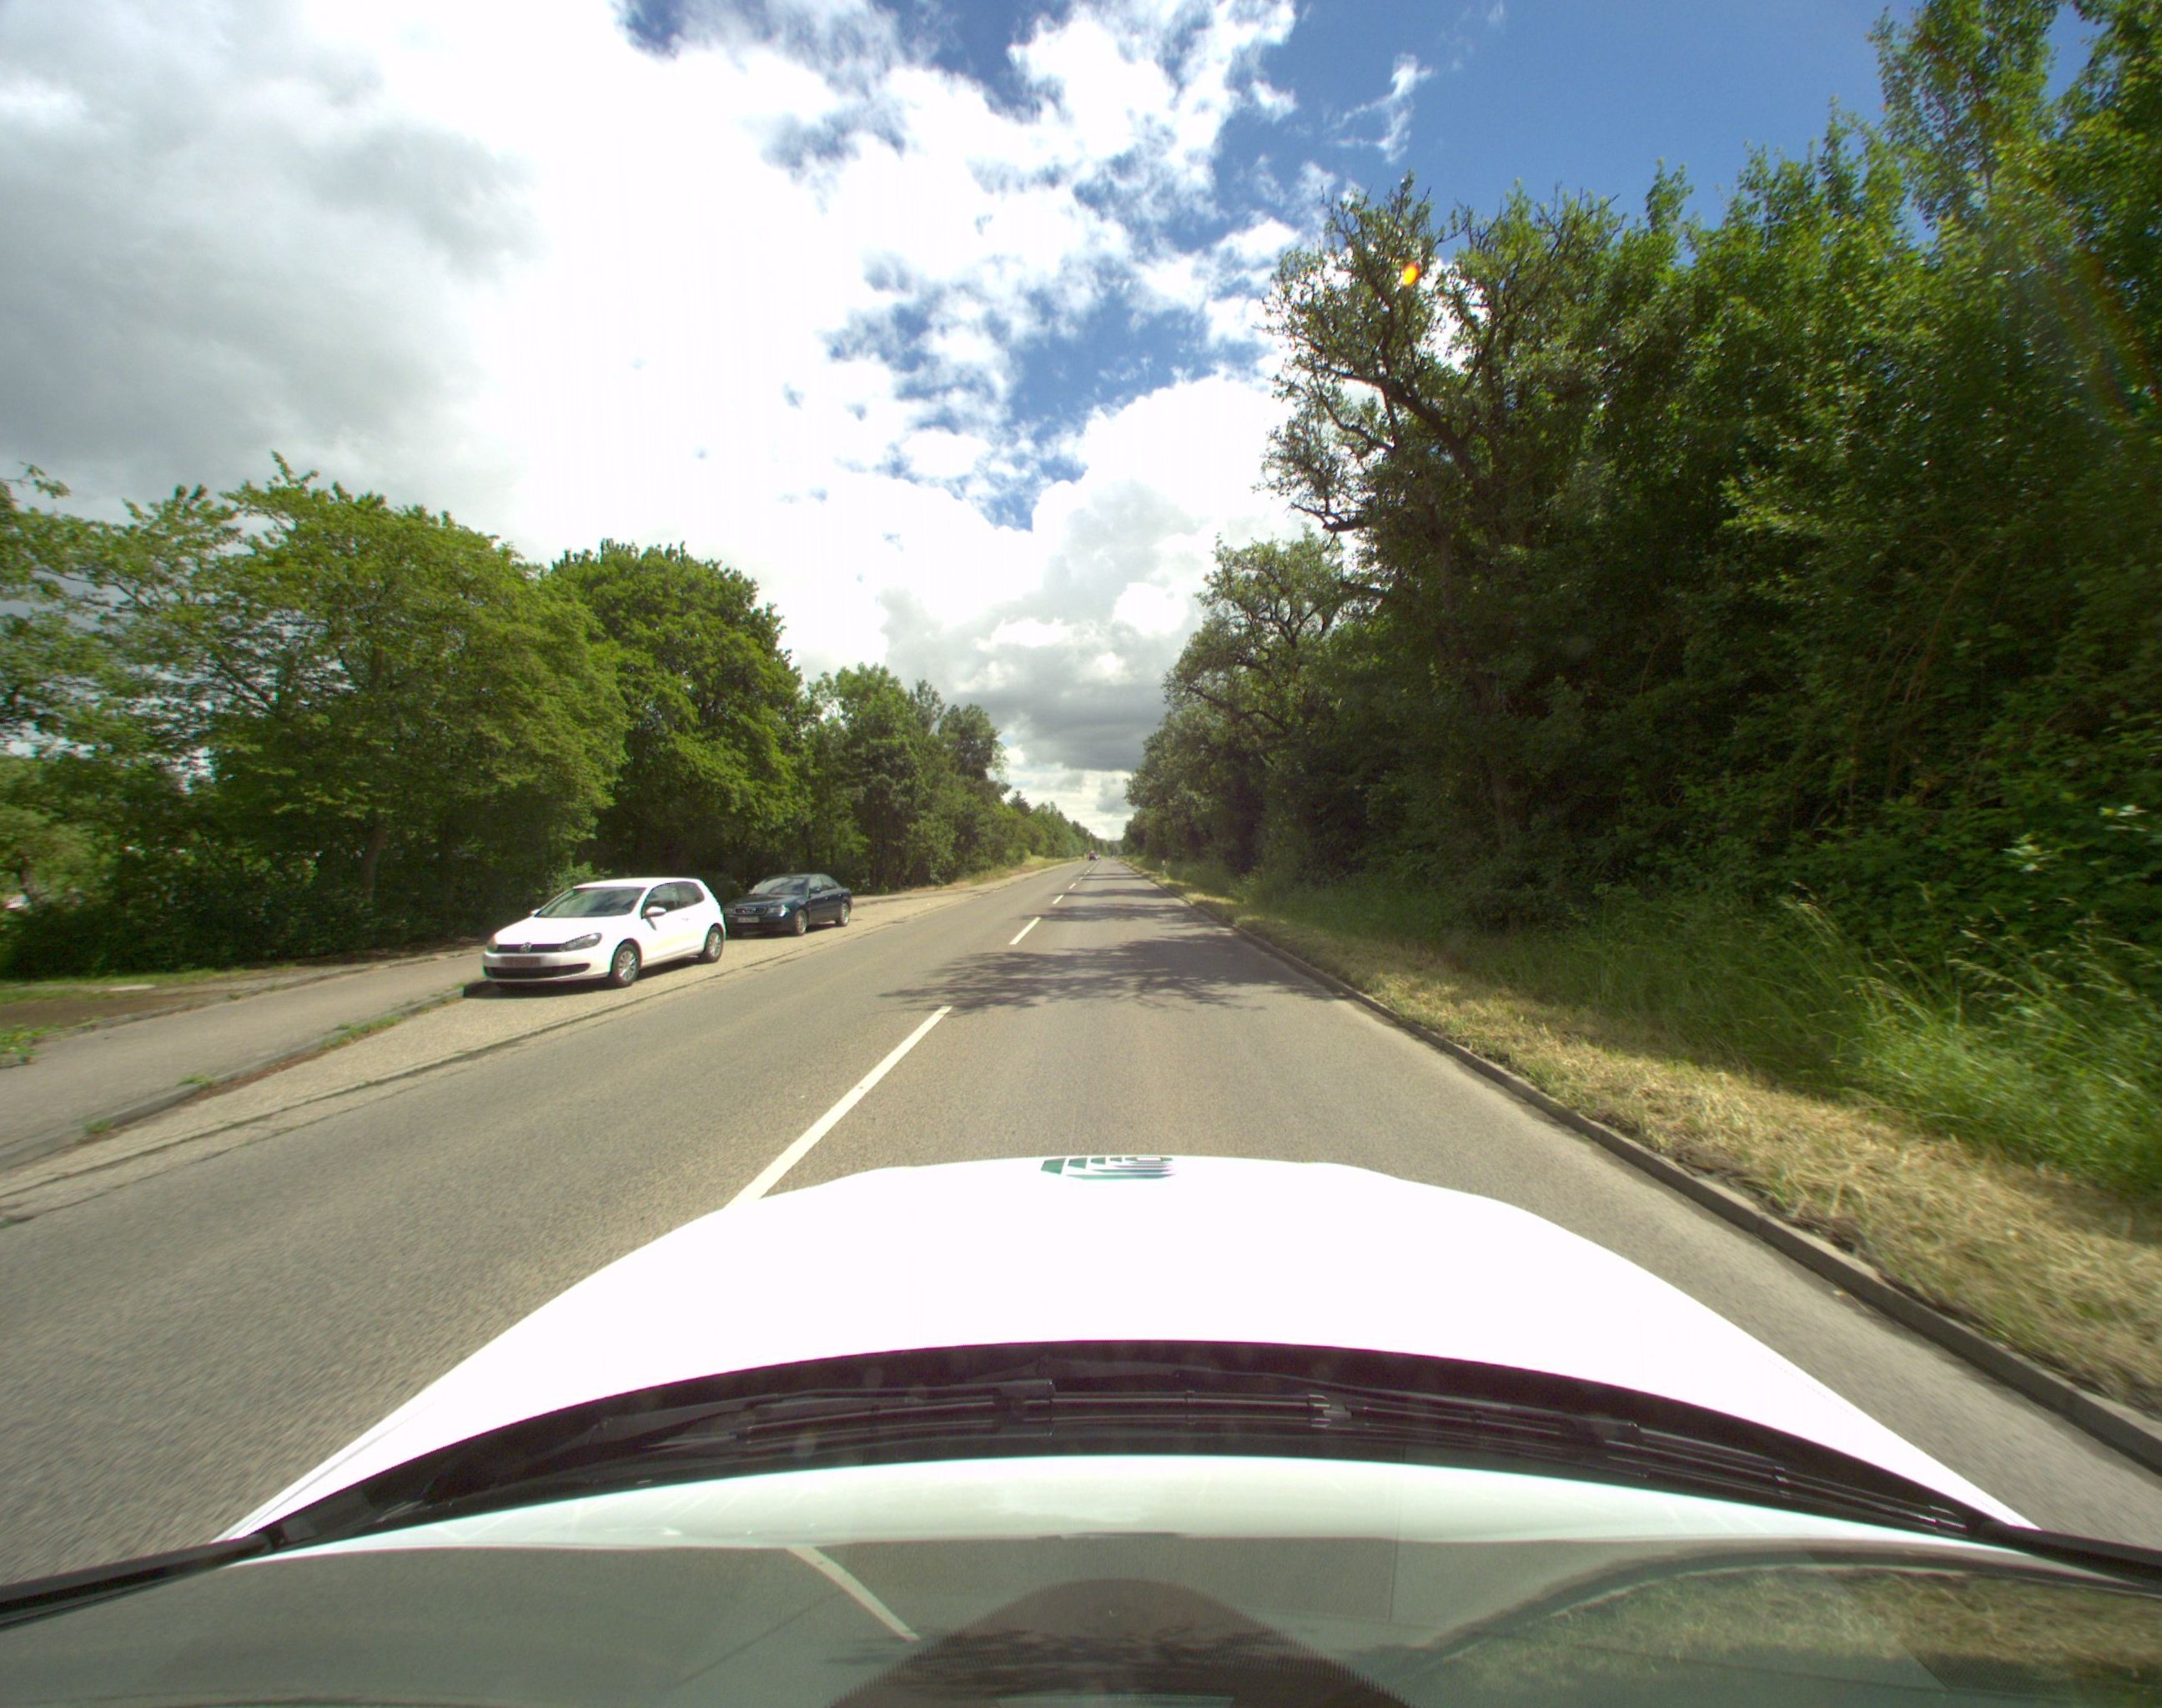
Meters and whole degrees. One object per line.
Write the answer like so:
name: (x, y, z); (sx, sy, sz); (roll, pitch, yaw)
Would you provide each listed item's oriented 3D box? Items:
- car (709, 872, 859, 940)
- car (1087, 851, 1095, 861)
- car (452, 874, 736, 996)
car: (-7.041, 1.171, 19.814); (1.759, 1.408, 4.271); (0, 0, 5)
car: (2.772, 0.513, 222.891); (1.962, 2.550, 4.726); (-4, -1, 2)
car: (-7.129, 1.089, 12.545); (1.762, 1.470, 4.246); (0, -1, 1)
